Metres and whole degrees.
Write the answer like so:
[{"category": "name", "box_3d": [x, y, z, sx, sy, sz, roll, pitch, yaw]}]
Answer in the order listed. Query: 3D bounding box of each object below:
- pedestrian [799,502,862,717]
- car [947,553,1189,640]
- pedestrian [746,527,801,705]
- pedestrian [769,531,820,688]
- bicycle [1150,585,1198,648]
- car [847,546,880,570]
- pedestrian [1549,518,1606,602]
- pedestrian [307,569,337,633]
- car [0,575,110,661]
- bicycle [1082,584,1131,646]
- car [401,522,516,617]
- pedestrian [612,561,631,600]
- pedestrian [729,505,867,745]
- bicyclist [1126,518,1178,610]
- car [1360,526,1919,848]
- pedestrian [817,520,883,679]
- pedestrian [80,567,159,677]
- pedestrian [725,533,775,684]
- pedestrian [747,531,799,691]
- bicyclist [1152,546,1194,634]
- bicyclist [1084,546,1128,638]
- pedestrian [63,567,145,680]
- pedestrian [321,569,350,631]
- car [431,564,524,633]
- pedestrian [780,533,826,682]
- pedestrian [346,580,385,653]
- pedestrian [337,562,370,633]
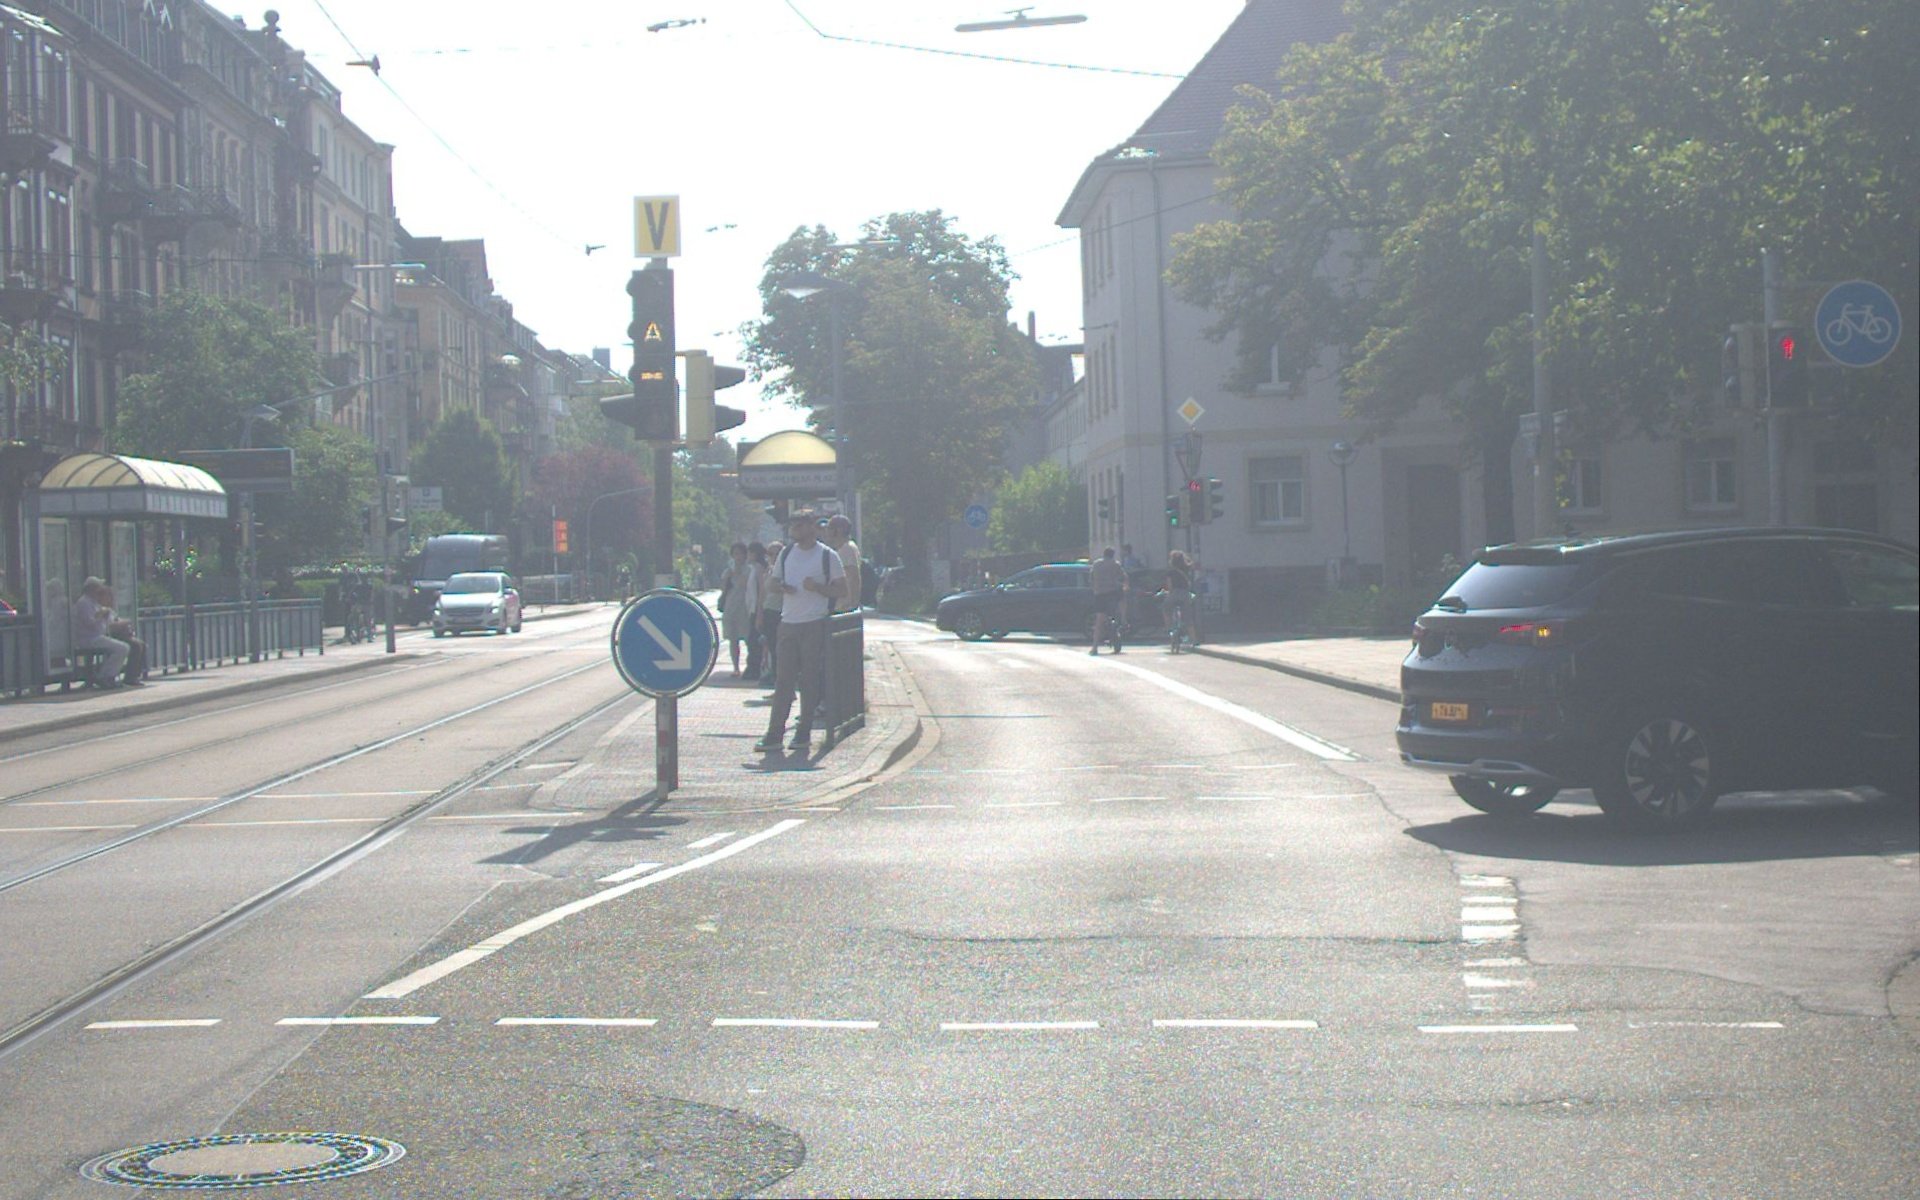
[{"category": "pedestrian", "box_3d": [-1.125, 0.074, 29.863, 0.504, 1.827, 0.534, 1, 3, -1]}, {"category": "car", "box_3d": [2.129, -0.076, 67.229, 4.325, 1.564, 1.999, -1, 1, 16]}, {"category": "pedestrian", "box_3d": [-1.872, 0.154, 34.562, 0.504, 1.753, 0.534, 1, 3, -1]}, {"category": "pedestrian", "box_3d": [-1.898, 0.105, 39.379, 0.543, 1.753, 0.534, 1, 3, -1]}, {"category": "bicycle", "box_3d": [3.522, 0.262, 56.647, 0.558, 0.974, 1.856, -2, 1, -3]}, {"category": "car", "box_3d": [-7.210, -3.162, 257.450, 1.994, 1.777, 3.999, 0, 1, 6]}, {"category": "pedestrian", "box_3d": [12.856, -0.833, 71.584, 0.893, 1.734, 0.775, -1, 1, 32]}, {"category": "pedestrian", "box_3d": [-17.456, 0.016, 94.049, 0.750, 1.725, 0.772, -2, 1, -10]}, {"category": "car", "box_3d": [-18.669, 0.366, 65.522, 4.322, 1.564, 2.000, -2, 1, -34]}, {"category": "bicycle", "box_3d": [2.437, 0.242, 57.181, 0.629, 0.974, 1.770, -2, 1, -3]}, {"category": "car", "box_3d": [-14.775, -0.915, 101.530, 2.347, 2.653, 5.104, -2, 1, 3]}, {"category": "pedestrian", "box_3d": [-15.303, -0.879, 155.568, 0.750, 1.725, 0.772, -2, 1, -10]}, {"category": "pedestrian", "box_3d": [-1.203, 0.172, 25.597, 0.701, 1.719, 0.747, 3, 4, 32]}, {"category": "bicyclist", "box_3d": [3.903, -0.732, 69.917, 0.986, 1.851, 0.493, -1, 1, 7]}, {"category": "car", "box_3d": [4.442, 0.394, 18.705, 4.213, 1.510, 1.612, -2, 2, -22]}, {"category": "pedestrian", "box_3d": [-1.234, -0.016, 38.762, 0.709, 1.753, 0.534, 1, 3, -1]}, {"category": "pedestrian", "box_3d": [-10.539, 0.270, 43.129, 0.827, 1.354, 0.776, -2, 1, -5]}, {"category": "pedestrian", "box_3d": [-2.488, 0.094, 40.793, 0.532, 1.753, 0.545, 1, 3, 0]}, {"category": "pedestrian", "box_3d": [-2.093, 0.121, 38.569, 0.543, 1.753, 0.534, 1, 3, -1]}, {"category": "bicyclist", "box_3d": [3.503, -0.173, 56.656, 0.558, 1.412, 0.872, -2, 1, -3]}, {"category": "bicyclist", "box_3d": [2.433, -0.130, 57.174, 0.629, 1.502, 0.678, -2, 1, -3]}, {"category": "pedestrian", "box_3d": [-10.494, 0.280, 42.152, 0.827, 1.354, 0.776, -2, 1, -5]}, {"category": "pedestrian", "box_3d": [-17.624, -0.004, 97.005, 0.750, 1.725, 0.772, -2, 1, -10]}, {"category": "car", "box_3d": [-12.117, -0.055, 86.467, 1.801, 1.648, 3.642, -2, 1, 0]}, {"category": "pedestrian", "box_3d": [-1.887, 0.088, 41.378, 0.504, 1.753, 0.534, 1, 3, -1]}, {"category": "pedestrian", "box_3d": [-14.352, 0.402, 82.949, 0.750, 1.725, 0.771, -2, 1, 1]}, {"category": "pedestrian", "box_3d": [-15.014, -0.066, 85.088, 0.750, 1.725, 0.772, -2, 1, -10]}]
